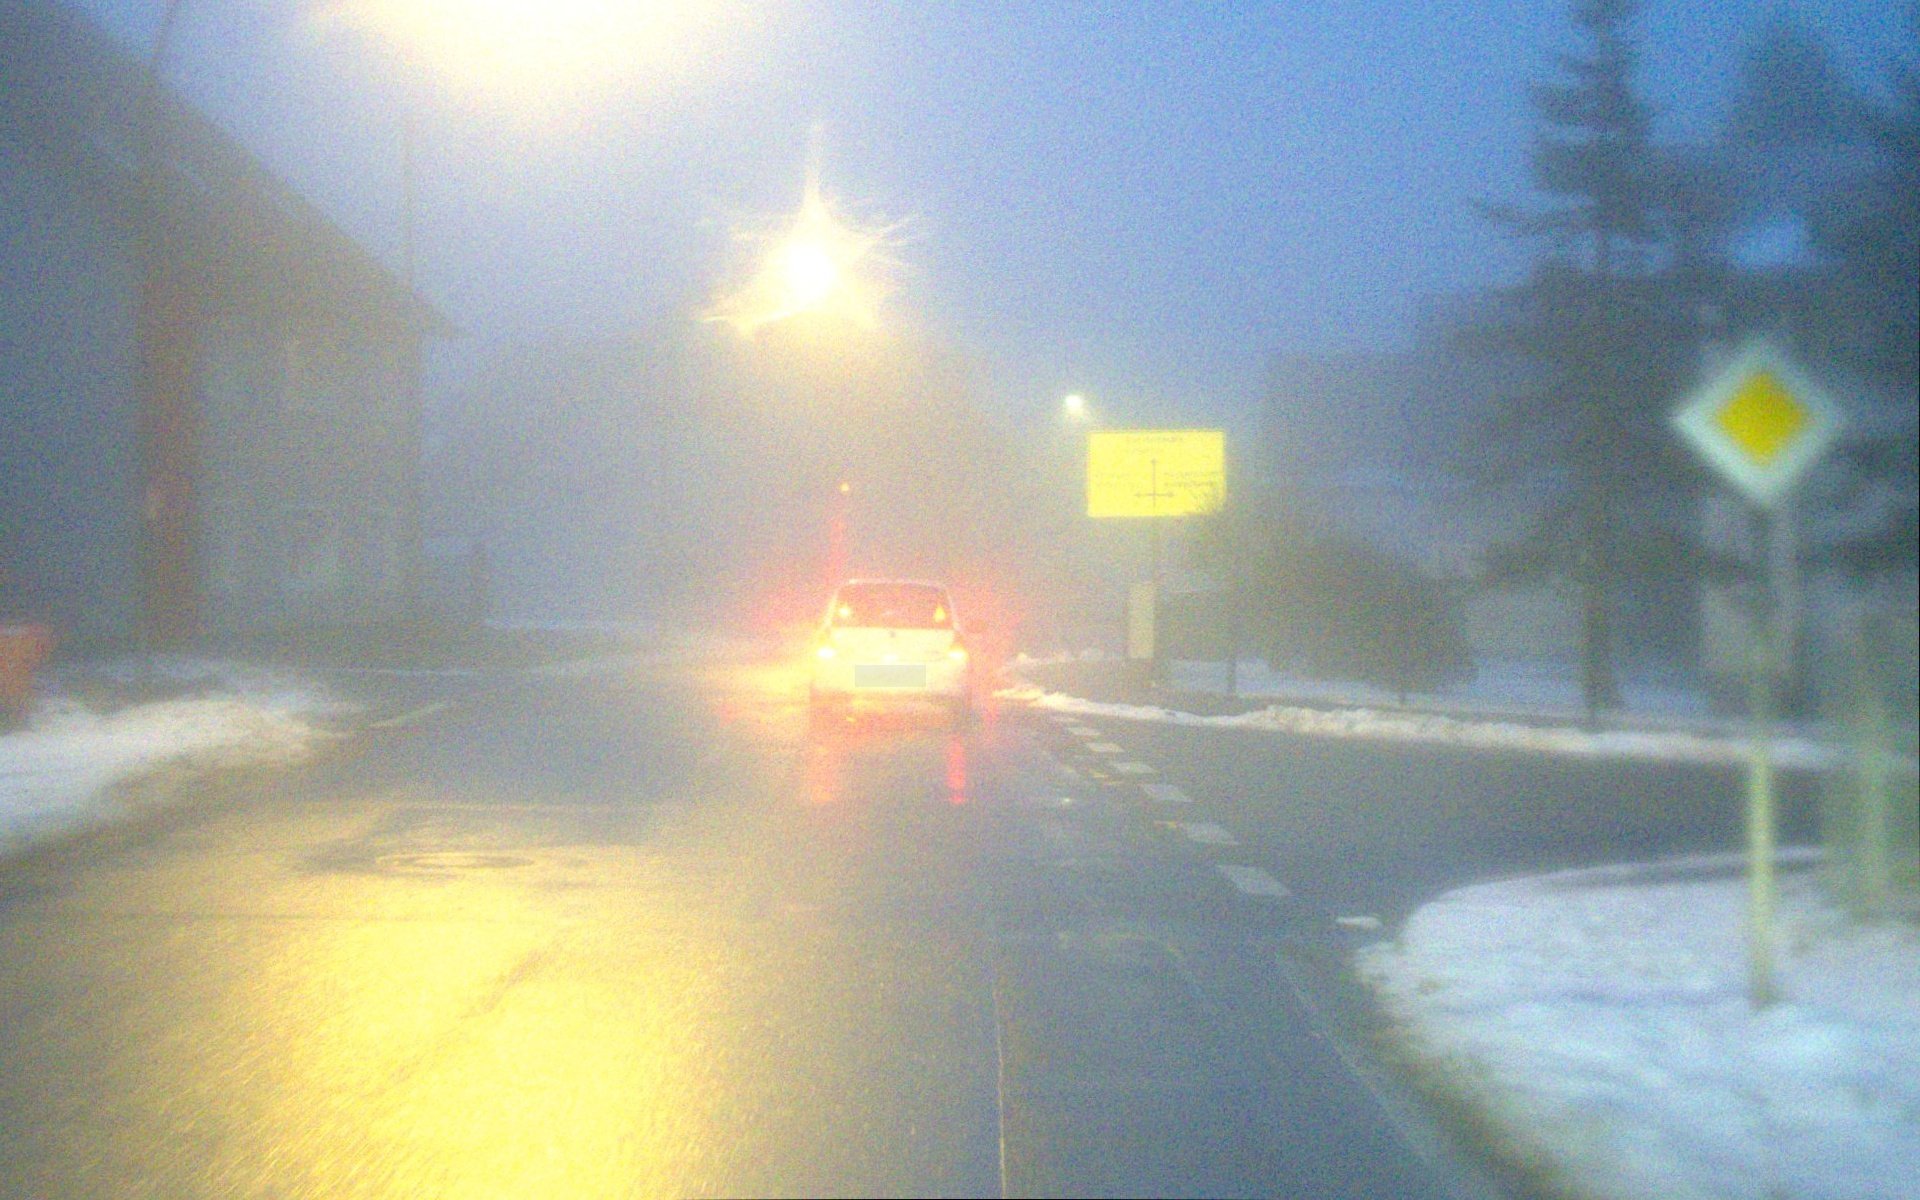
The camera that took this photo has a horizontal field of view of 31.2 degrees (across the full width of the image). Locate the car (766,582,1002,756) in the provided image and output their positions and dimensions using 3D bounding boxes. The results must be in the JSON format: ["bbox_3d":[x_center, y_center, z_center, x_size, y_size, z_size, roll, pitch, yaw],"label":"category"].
[{"bbox_3d":[-0.701,0.651,34.835,1.994,1.503,4.000,-2,2,4],"label":"car"}]
